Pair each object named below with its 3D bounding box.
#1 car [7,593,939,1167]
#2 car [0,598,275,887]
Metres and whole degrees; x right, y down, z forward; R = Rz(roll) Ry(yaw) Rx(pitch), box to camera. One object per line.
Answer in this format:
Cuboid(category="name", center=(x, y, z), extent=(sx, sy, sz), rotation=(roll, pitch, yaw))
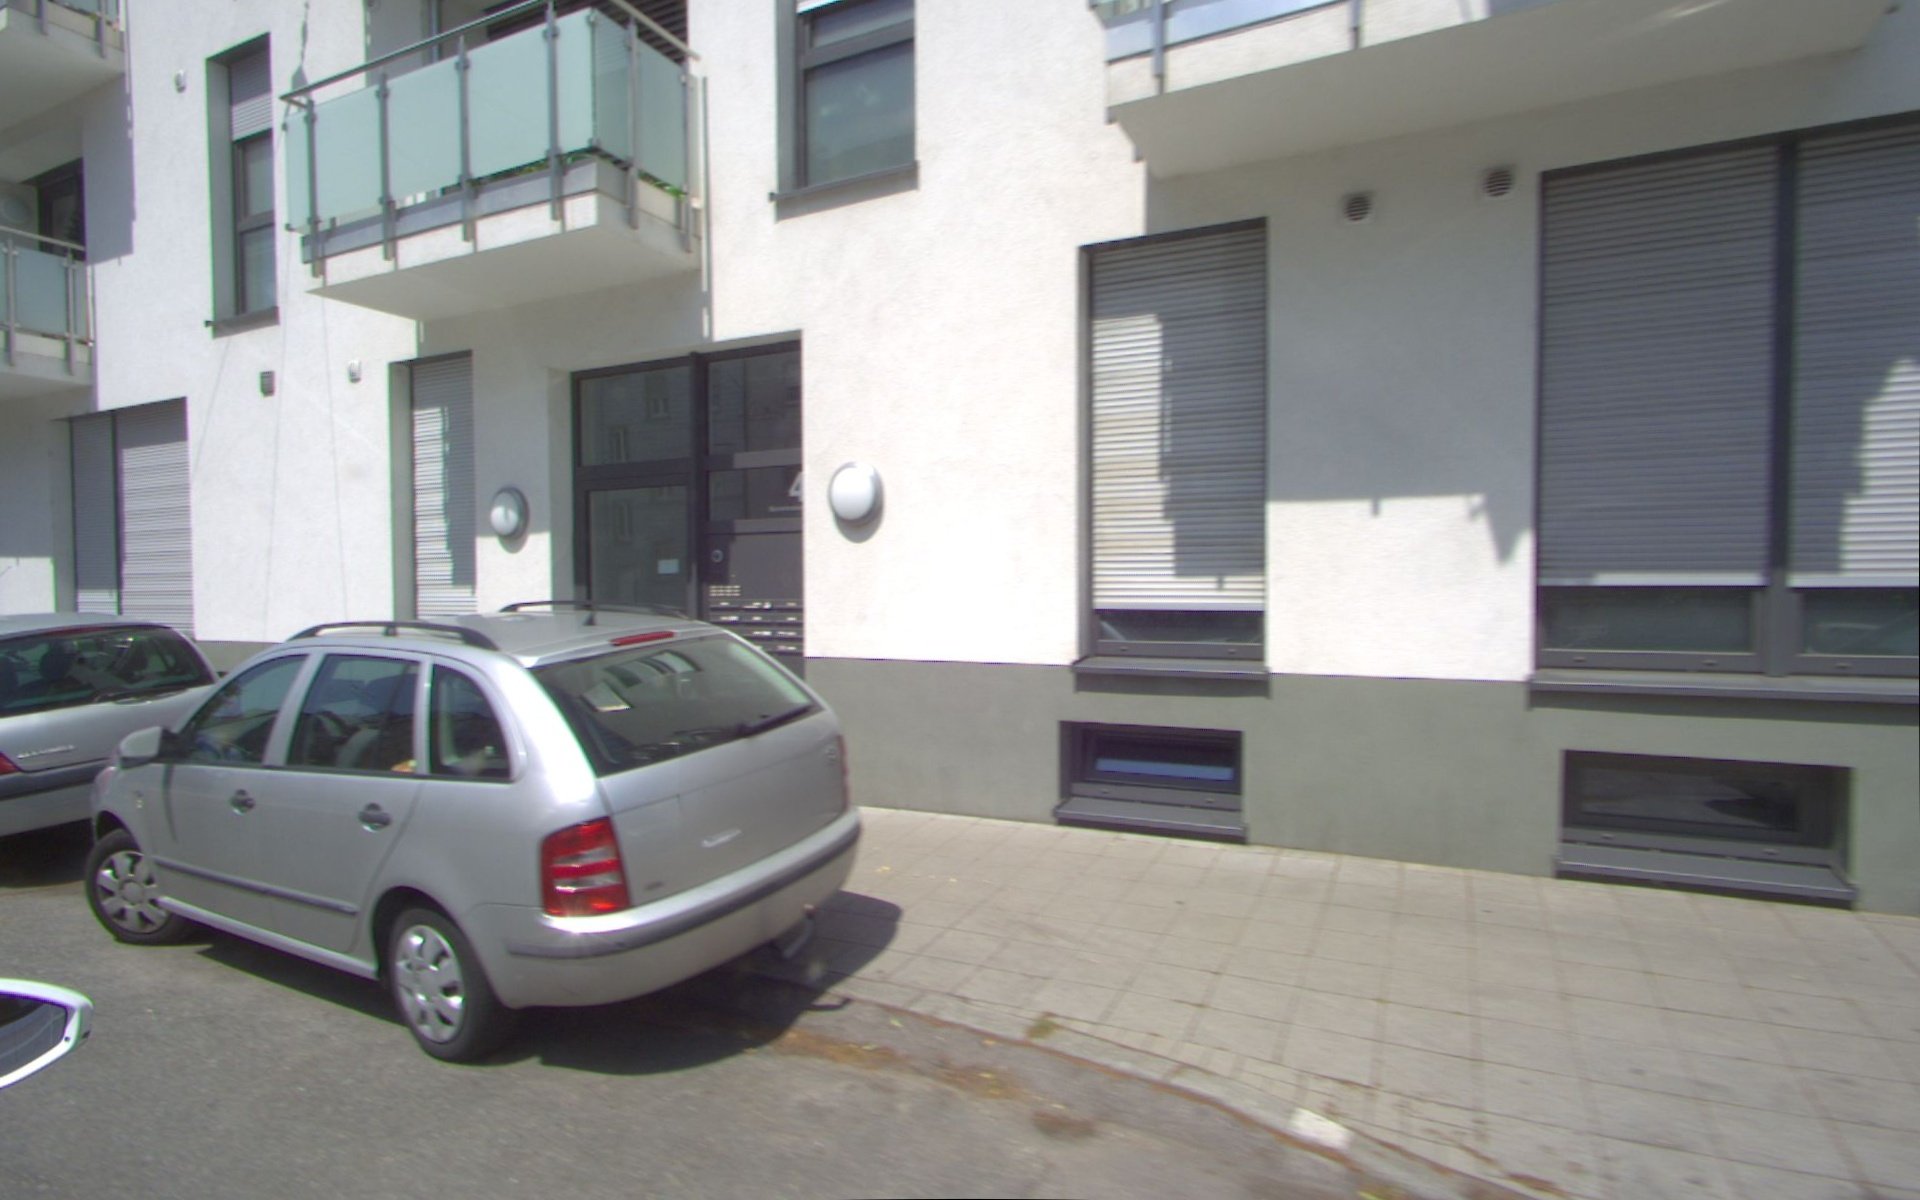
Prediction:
Cuboid(category="car", center=(-2.255, 0.766, 4.428), extent=(3.982, 1.453, 1.722), rotation=(0, 4, 31))
Cuboid(category="car", center=(-6.525, 0.789, 6.663), extent=(3.647, 1.453, 1.590), rotation=(-1, 4, 26))
